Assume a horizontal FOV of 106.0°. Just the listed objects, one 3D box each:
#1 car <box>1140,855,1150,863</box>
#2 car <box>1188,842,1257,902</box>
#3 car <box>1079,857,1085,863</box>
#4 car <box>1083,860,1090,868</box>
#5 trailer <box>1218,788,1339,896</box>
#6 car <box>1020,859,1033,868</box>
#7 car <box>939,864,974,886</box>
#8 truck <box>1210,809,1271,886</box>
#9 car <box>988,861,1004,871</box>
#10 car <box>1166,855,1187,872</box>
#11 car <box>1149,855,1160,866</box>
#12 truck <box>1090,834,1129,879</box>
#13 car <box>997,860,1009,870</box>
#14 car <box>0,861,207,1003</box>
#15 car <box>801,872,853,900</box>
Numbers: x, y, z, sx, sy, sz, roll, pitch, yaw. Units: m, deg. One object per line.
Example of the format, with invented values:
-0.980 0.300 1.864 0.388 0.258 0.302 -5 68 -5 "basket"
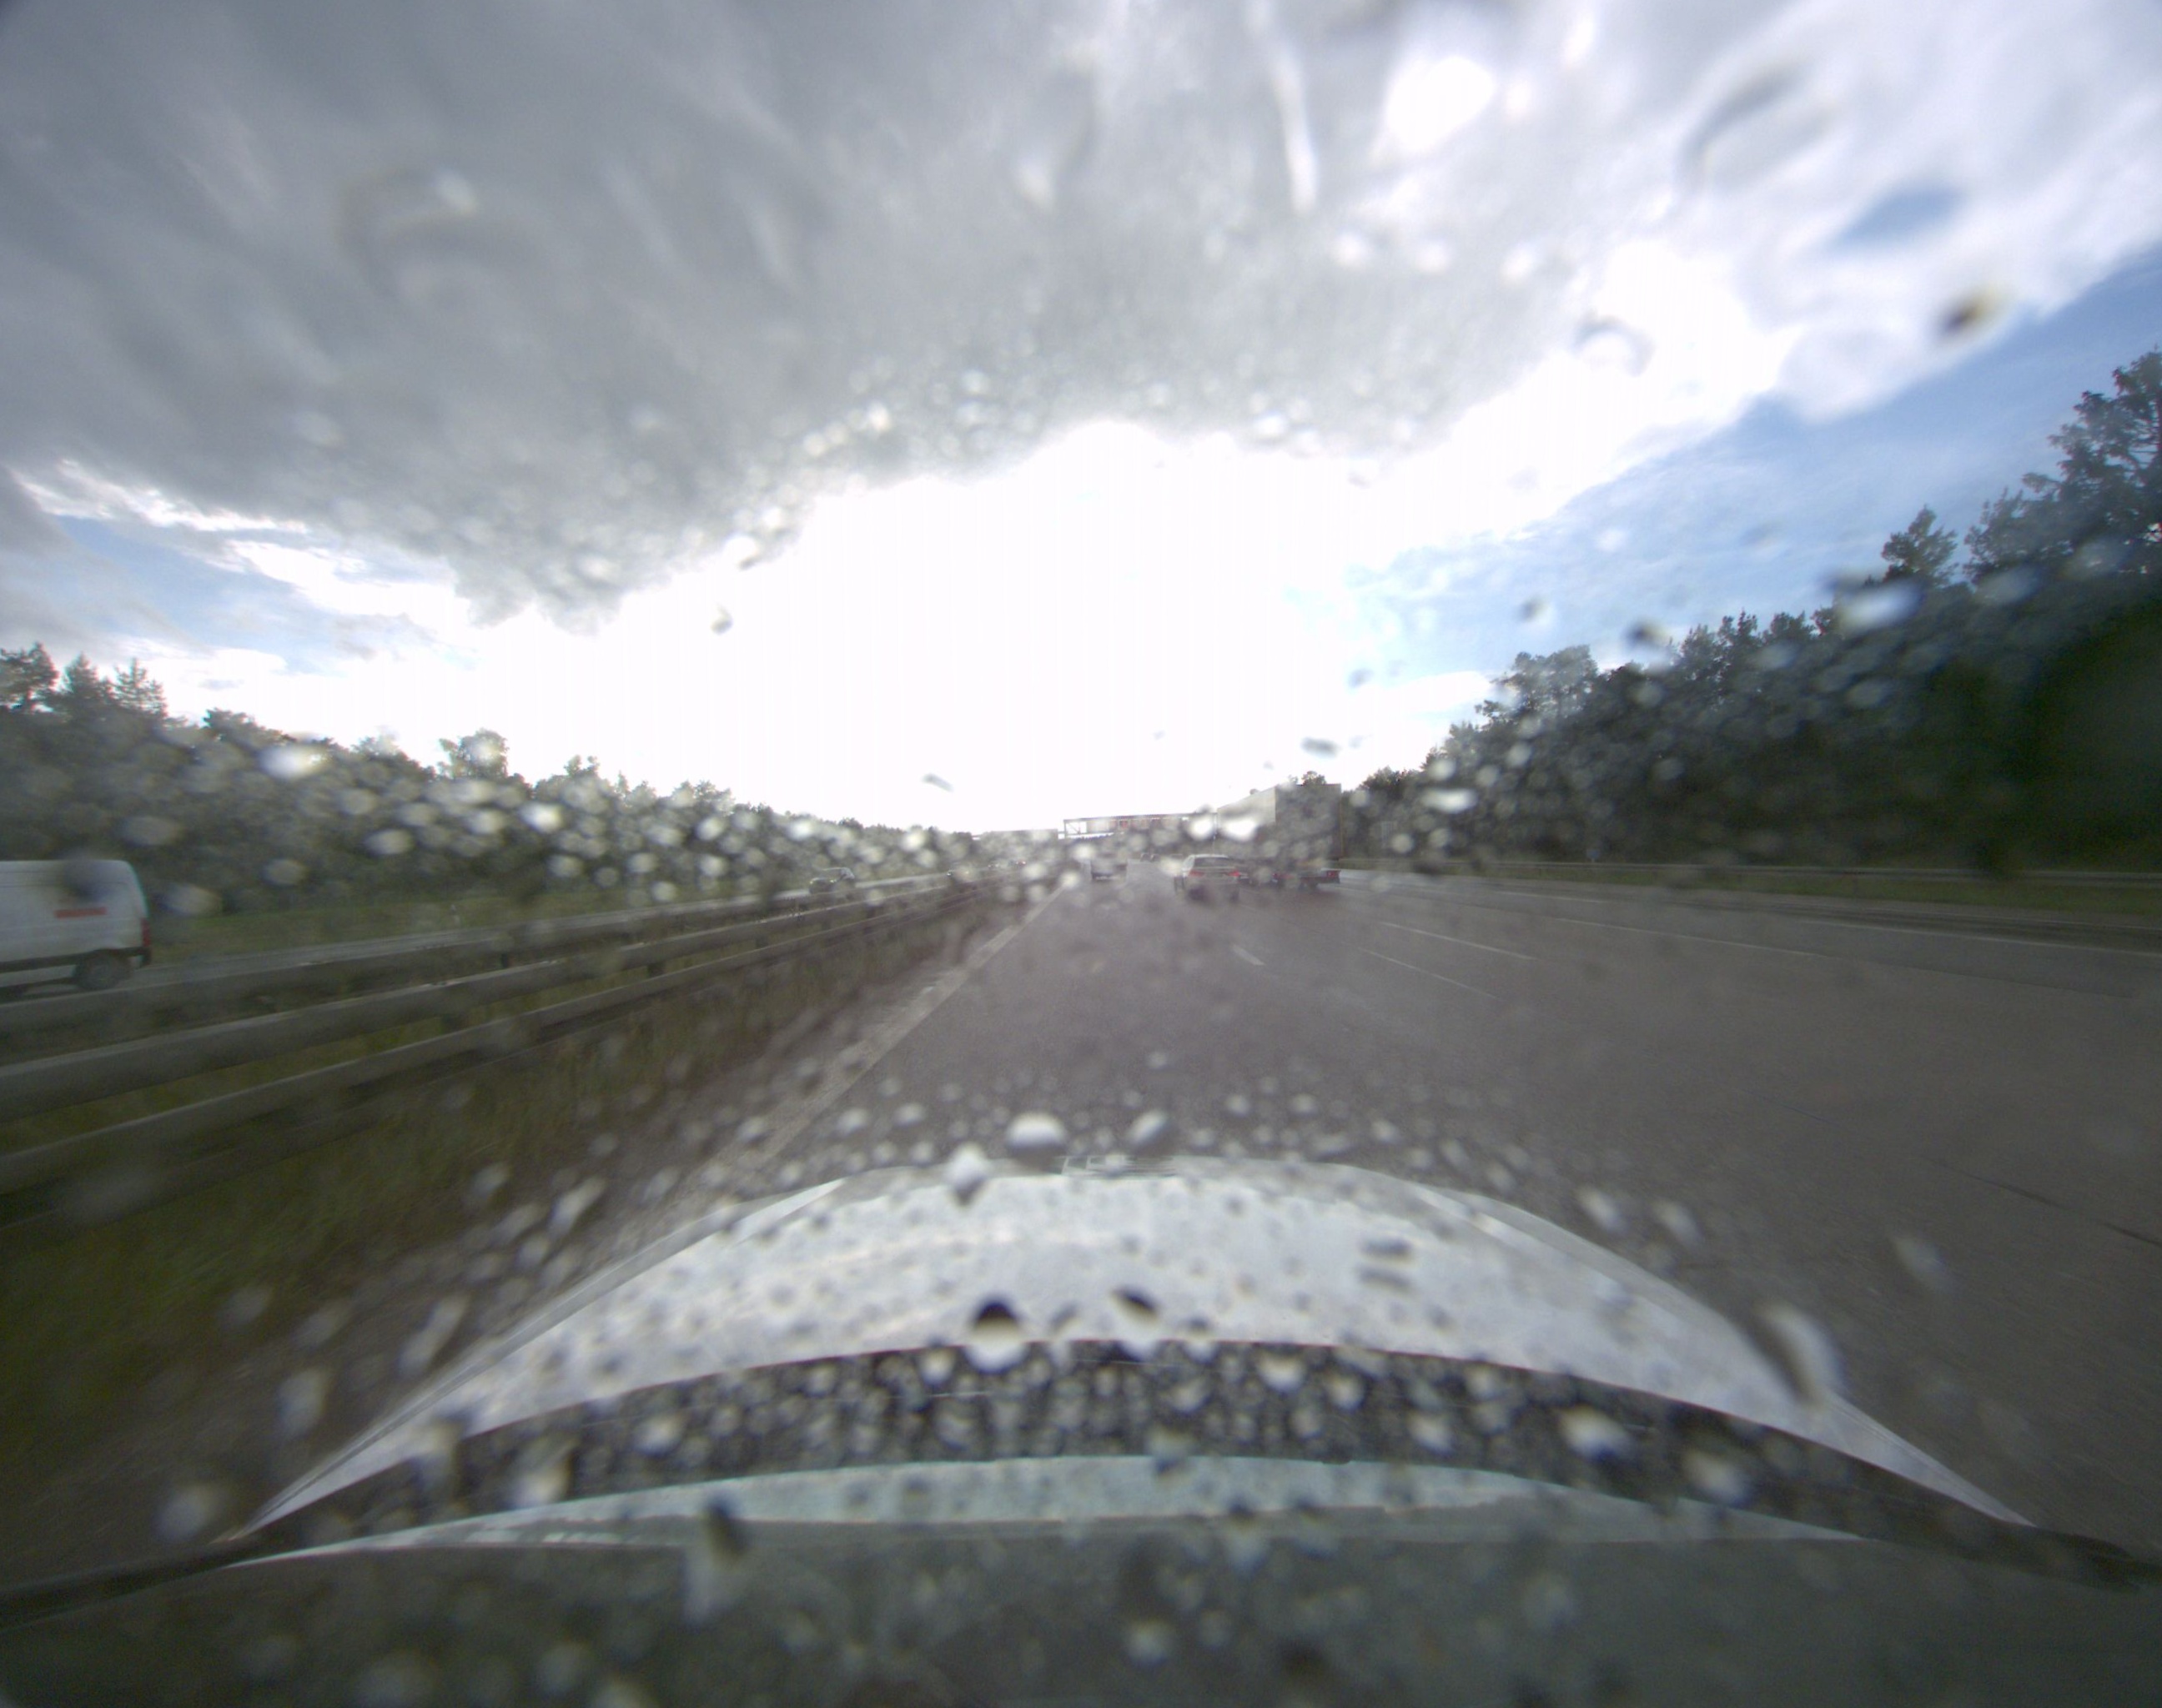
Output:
13.641 1.038 173.216 1.735 1.688 4.000 -1 0 0 "car"
4.834 0.567 28.444 2.067 1.885 5.020 -1 0 6 "car"
0.211 1.898 257.695 1.788 2.013 4.002 0 0 2 "car"
1.404 2.506 211.320 1.612 2.013 4.000 0 0 0 "car"
8.517 -0.421 37.101 2.316 4.001 13.412 -1 0 1 "trailer"
-10.086 1.795 151.264 1.986 1.609 4.609 -1 0 1 "car"
-8.909 1.456 58.458 1.868 1.431 3.999 -2 0 0 "car"
8.590 -0.331 44.412 2.286 3.868 5.392 -1 0 0 "truck"
-13.948 1.915 133.982 1.987 1.500 4.609 -4 0 1 "car"
9.030 0.890 76.875 1.822 1.466 4.005 -1 0 5 "car"
13.519 1.236 149.921 1.985 2.013 4.004 0 0 4 "car"
1.736 0.150 47.966 2.128 2.489 5.317 -1 0 3 "truck"
-16.636 2.268 173.905 1.987 1.917 4.724 -4 0 0 "car"
-20.406 1.478 14.610 2.090 2.510 6.586 -3 0 2 "car"
-15.638 1.932 50.374 1.868 1.472 3.999 -3 0 0 "car"
